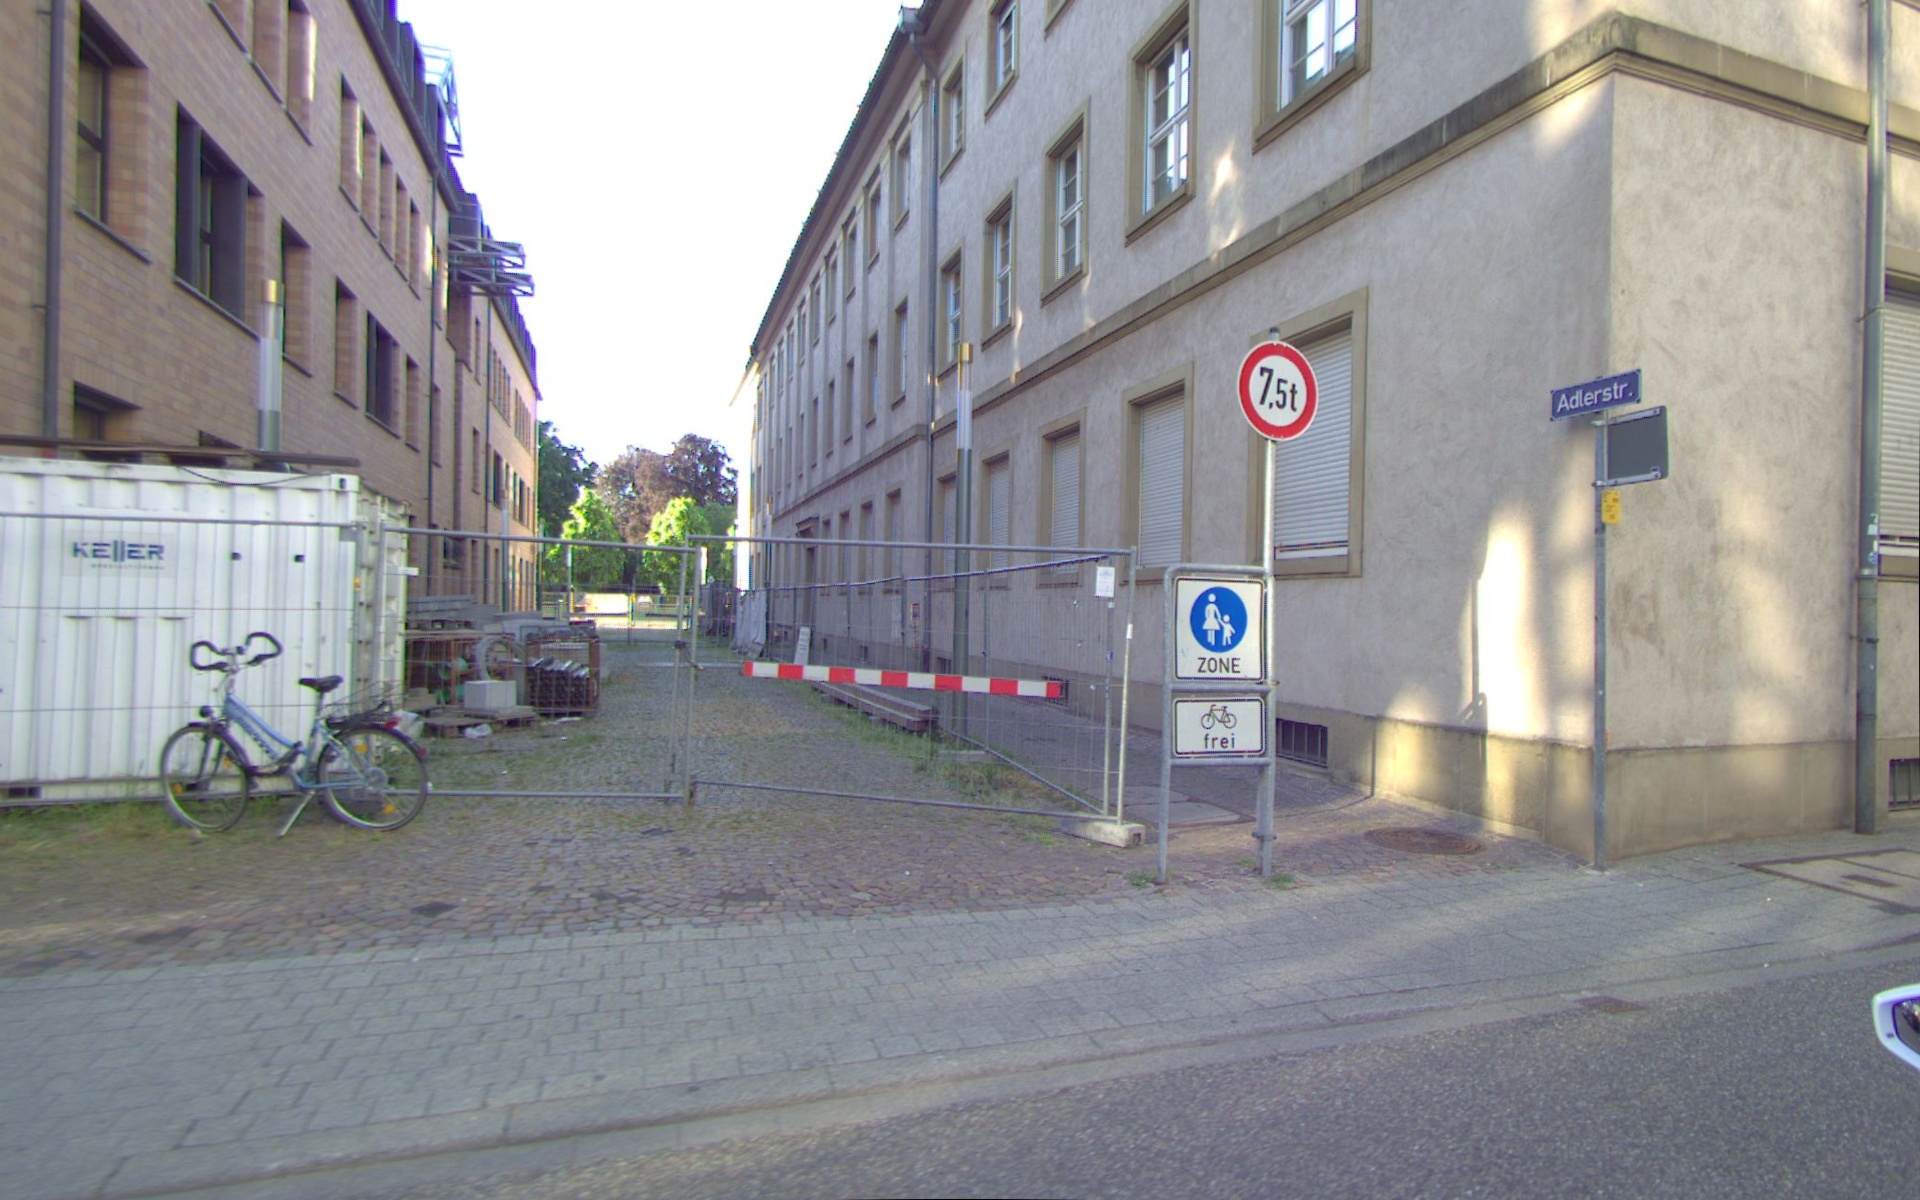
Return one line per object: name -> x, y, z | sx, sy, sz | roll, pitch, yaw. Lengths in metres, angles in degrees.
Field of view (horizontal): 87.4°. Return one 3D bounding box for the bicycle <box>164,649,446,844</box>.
bicycle -> -4.202, 0.921, 6.480 | 1.559, 1.159, 0.432 | 1, 0, 3
